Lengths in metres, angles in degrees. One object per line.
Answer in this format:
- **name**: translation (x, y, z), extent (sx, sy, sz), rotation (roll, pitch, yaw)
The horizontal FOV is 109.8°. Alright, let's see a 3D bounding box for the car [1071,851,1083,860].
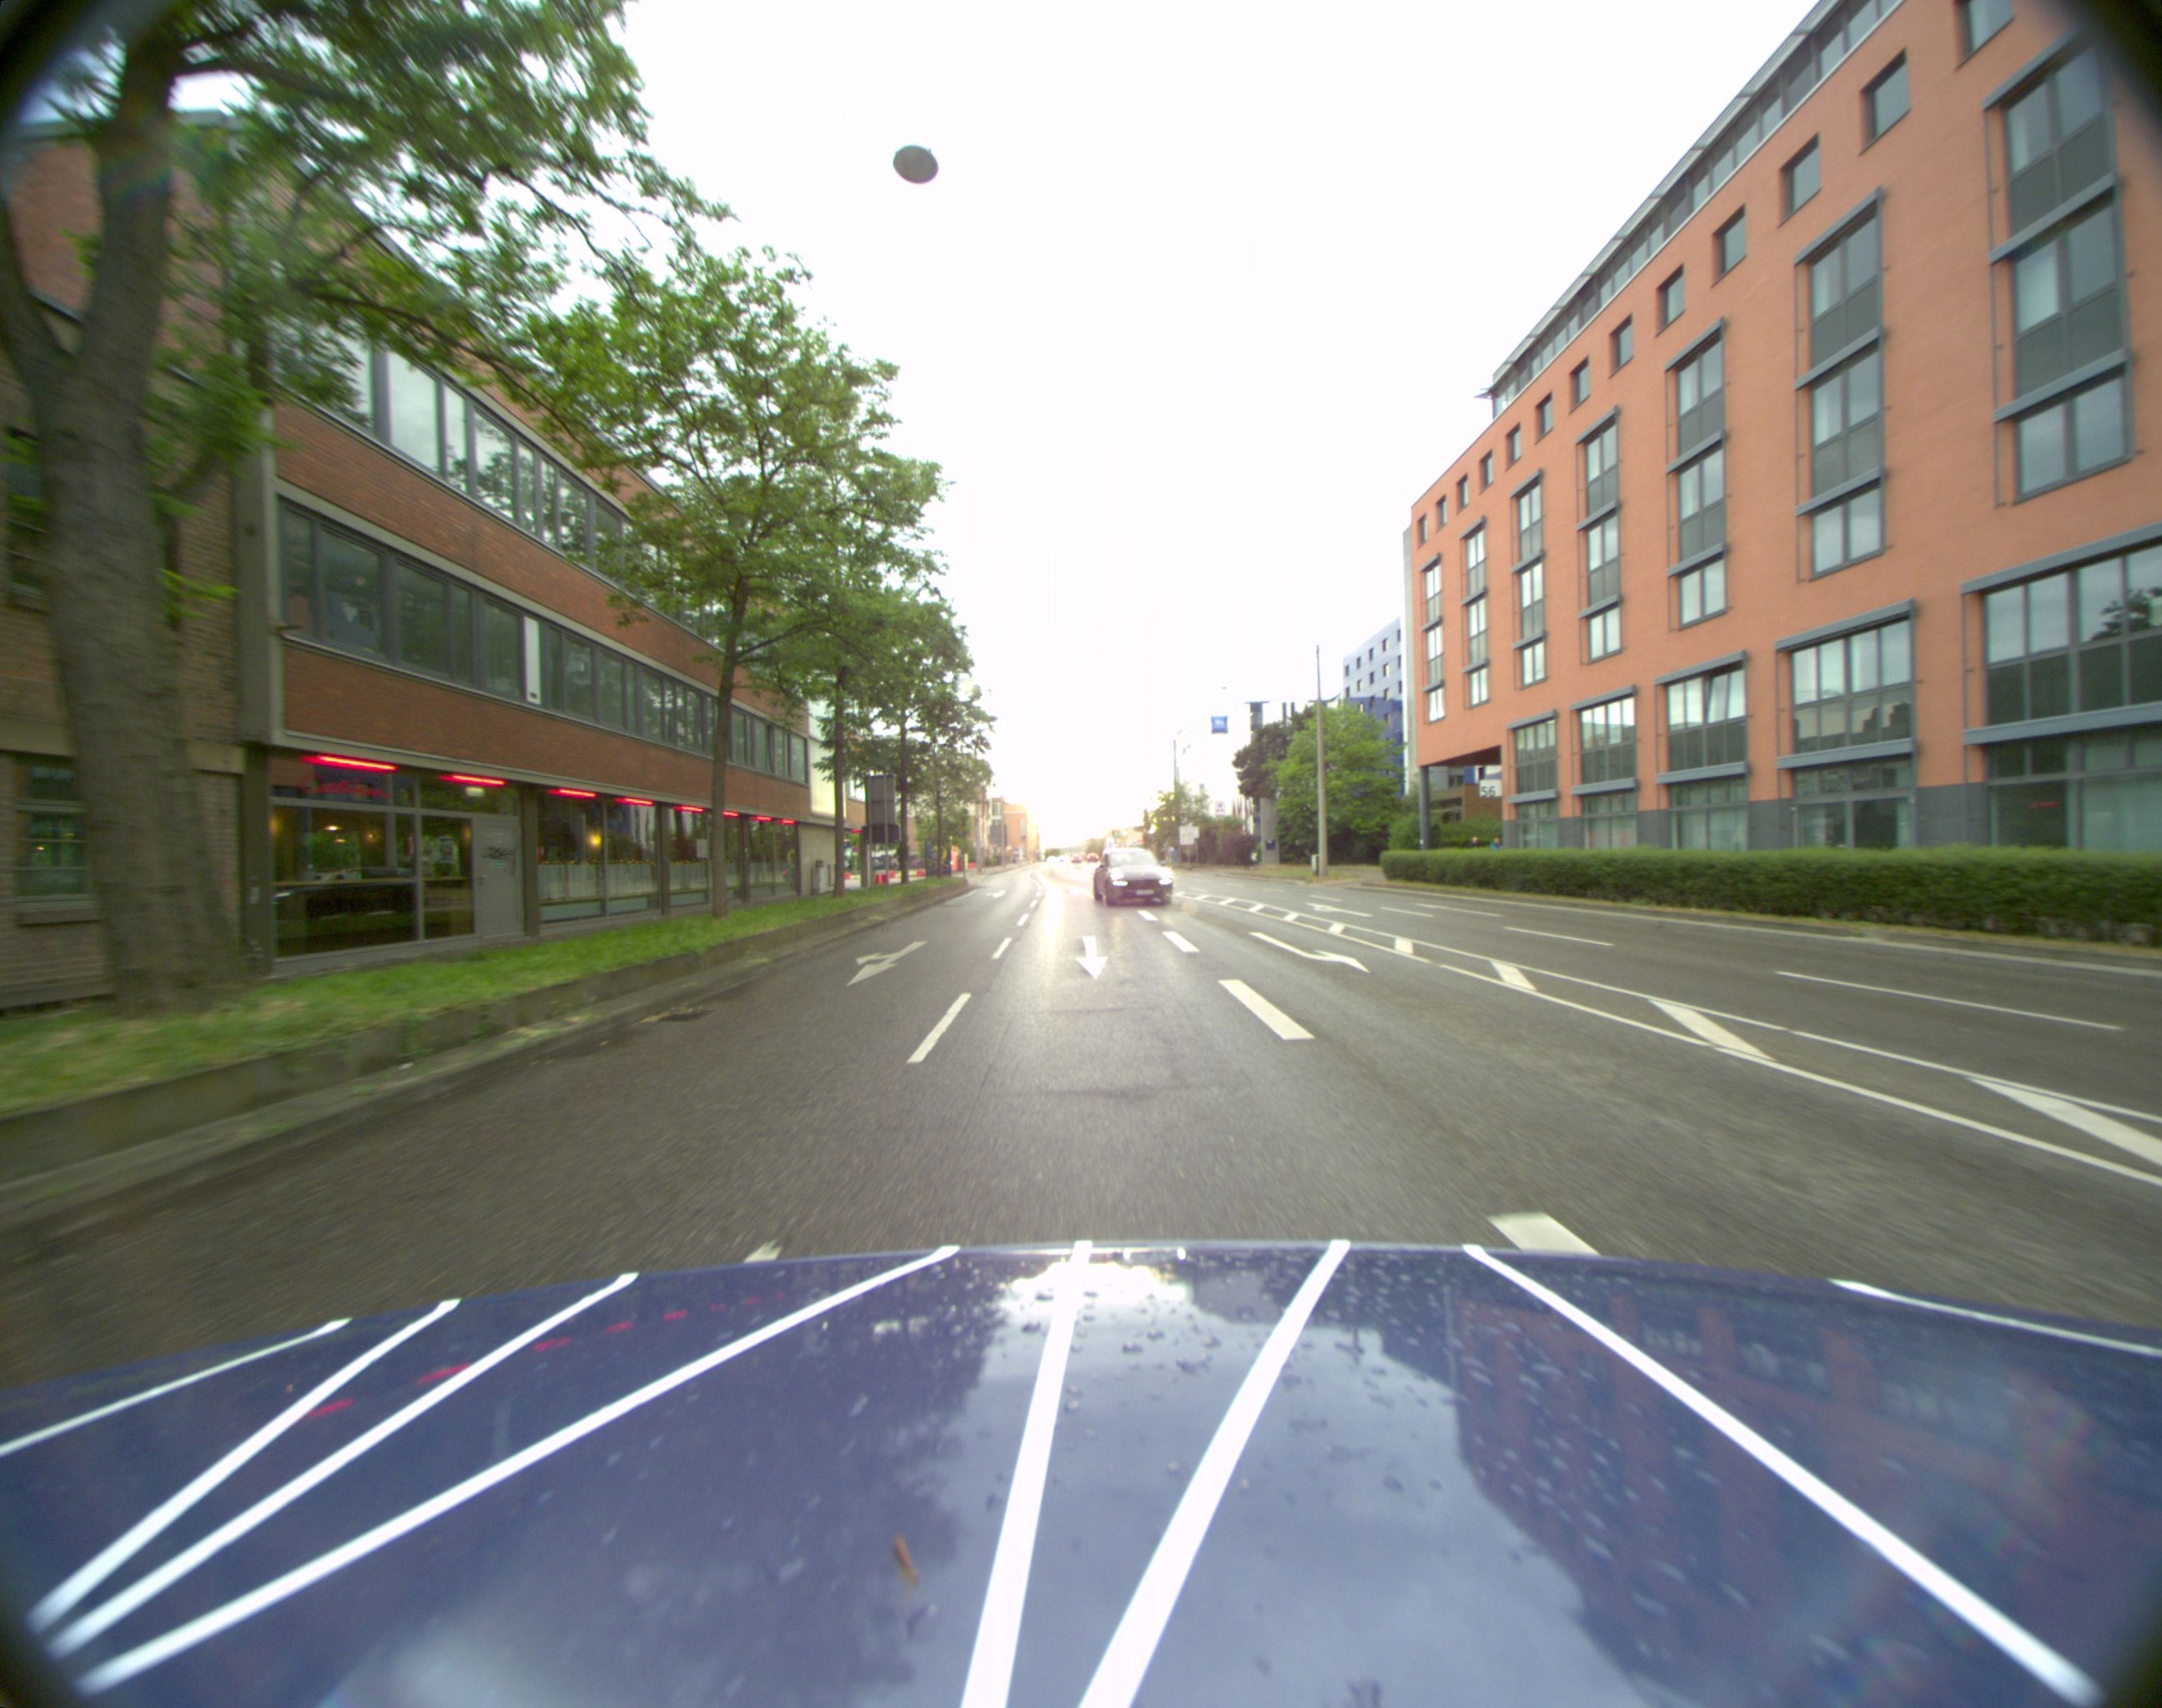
- **car**: translation (-0.679, 0.246, 135.541), extent (1.999, 1.543, 3.999), rotation (-1, 1, 0)

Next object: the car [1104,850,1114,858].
- **car**: translation (5.569, -0.017, 150.978), extent (1.767, 1.559, 3.999), rotation (0, 0, -2)

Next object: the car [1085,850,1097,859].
- **car**: translation (1.867, 0.078, 142.959), extent (1.999, 1.543, 3.999), rotation (-1, 1, 0)

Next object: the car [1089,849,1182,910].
- **car**: translation (1.574, 0.714, 24.060), extent (2.000, 1.656, 5.421), rotation (-1, 0, -6)

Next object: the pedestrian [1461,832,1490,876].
- **pedestrian**: translation (16.980, 0.013, 32.713), extent (0.747, 1.830, 0.885), rotation (-3, 1, -1)

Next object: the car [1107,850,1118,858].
- **car**: translation (5.957, 0.039, 143.349), extent (1.767, 1.559, 3.999), rotation (0, 0, -2)

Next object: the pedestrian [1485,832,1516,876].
- **pedestrian**: translation (17.946, -0.017, 32.499), extent (0.747, 1.830, 0.885), rotation (-3, 1, -1)

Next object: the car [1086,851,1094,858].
- **car**: translation (2.167, 0.182, 186.638), extent (1.999, 1.543, 3.999), rotation (-1, 1, 0)

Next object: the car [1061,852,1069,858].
- **car**: translation (-3.824, 0.255, 179.493), extent (1.799, 1.501, 4.000), rotation (0, 0, 0)
